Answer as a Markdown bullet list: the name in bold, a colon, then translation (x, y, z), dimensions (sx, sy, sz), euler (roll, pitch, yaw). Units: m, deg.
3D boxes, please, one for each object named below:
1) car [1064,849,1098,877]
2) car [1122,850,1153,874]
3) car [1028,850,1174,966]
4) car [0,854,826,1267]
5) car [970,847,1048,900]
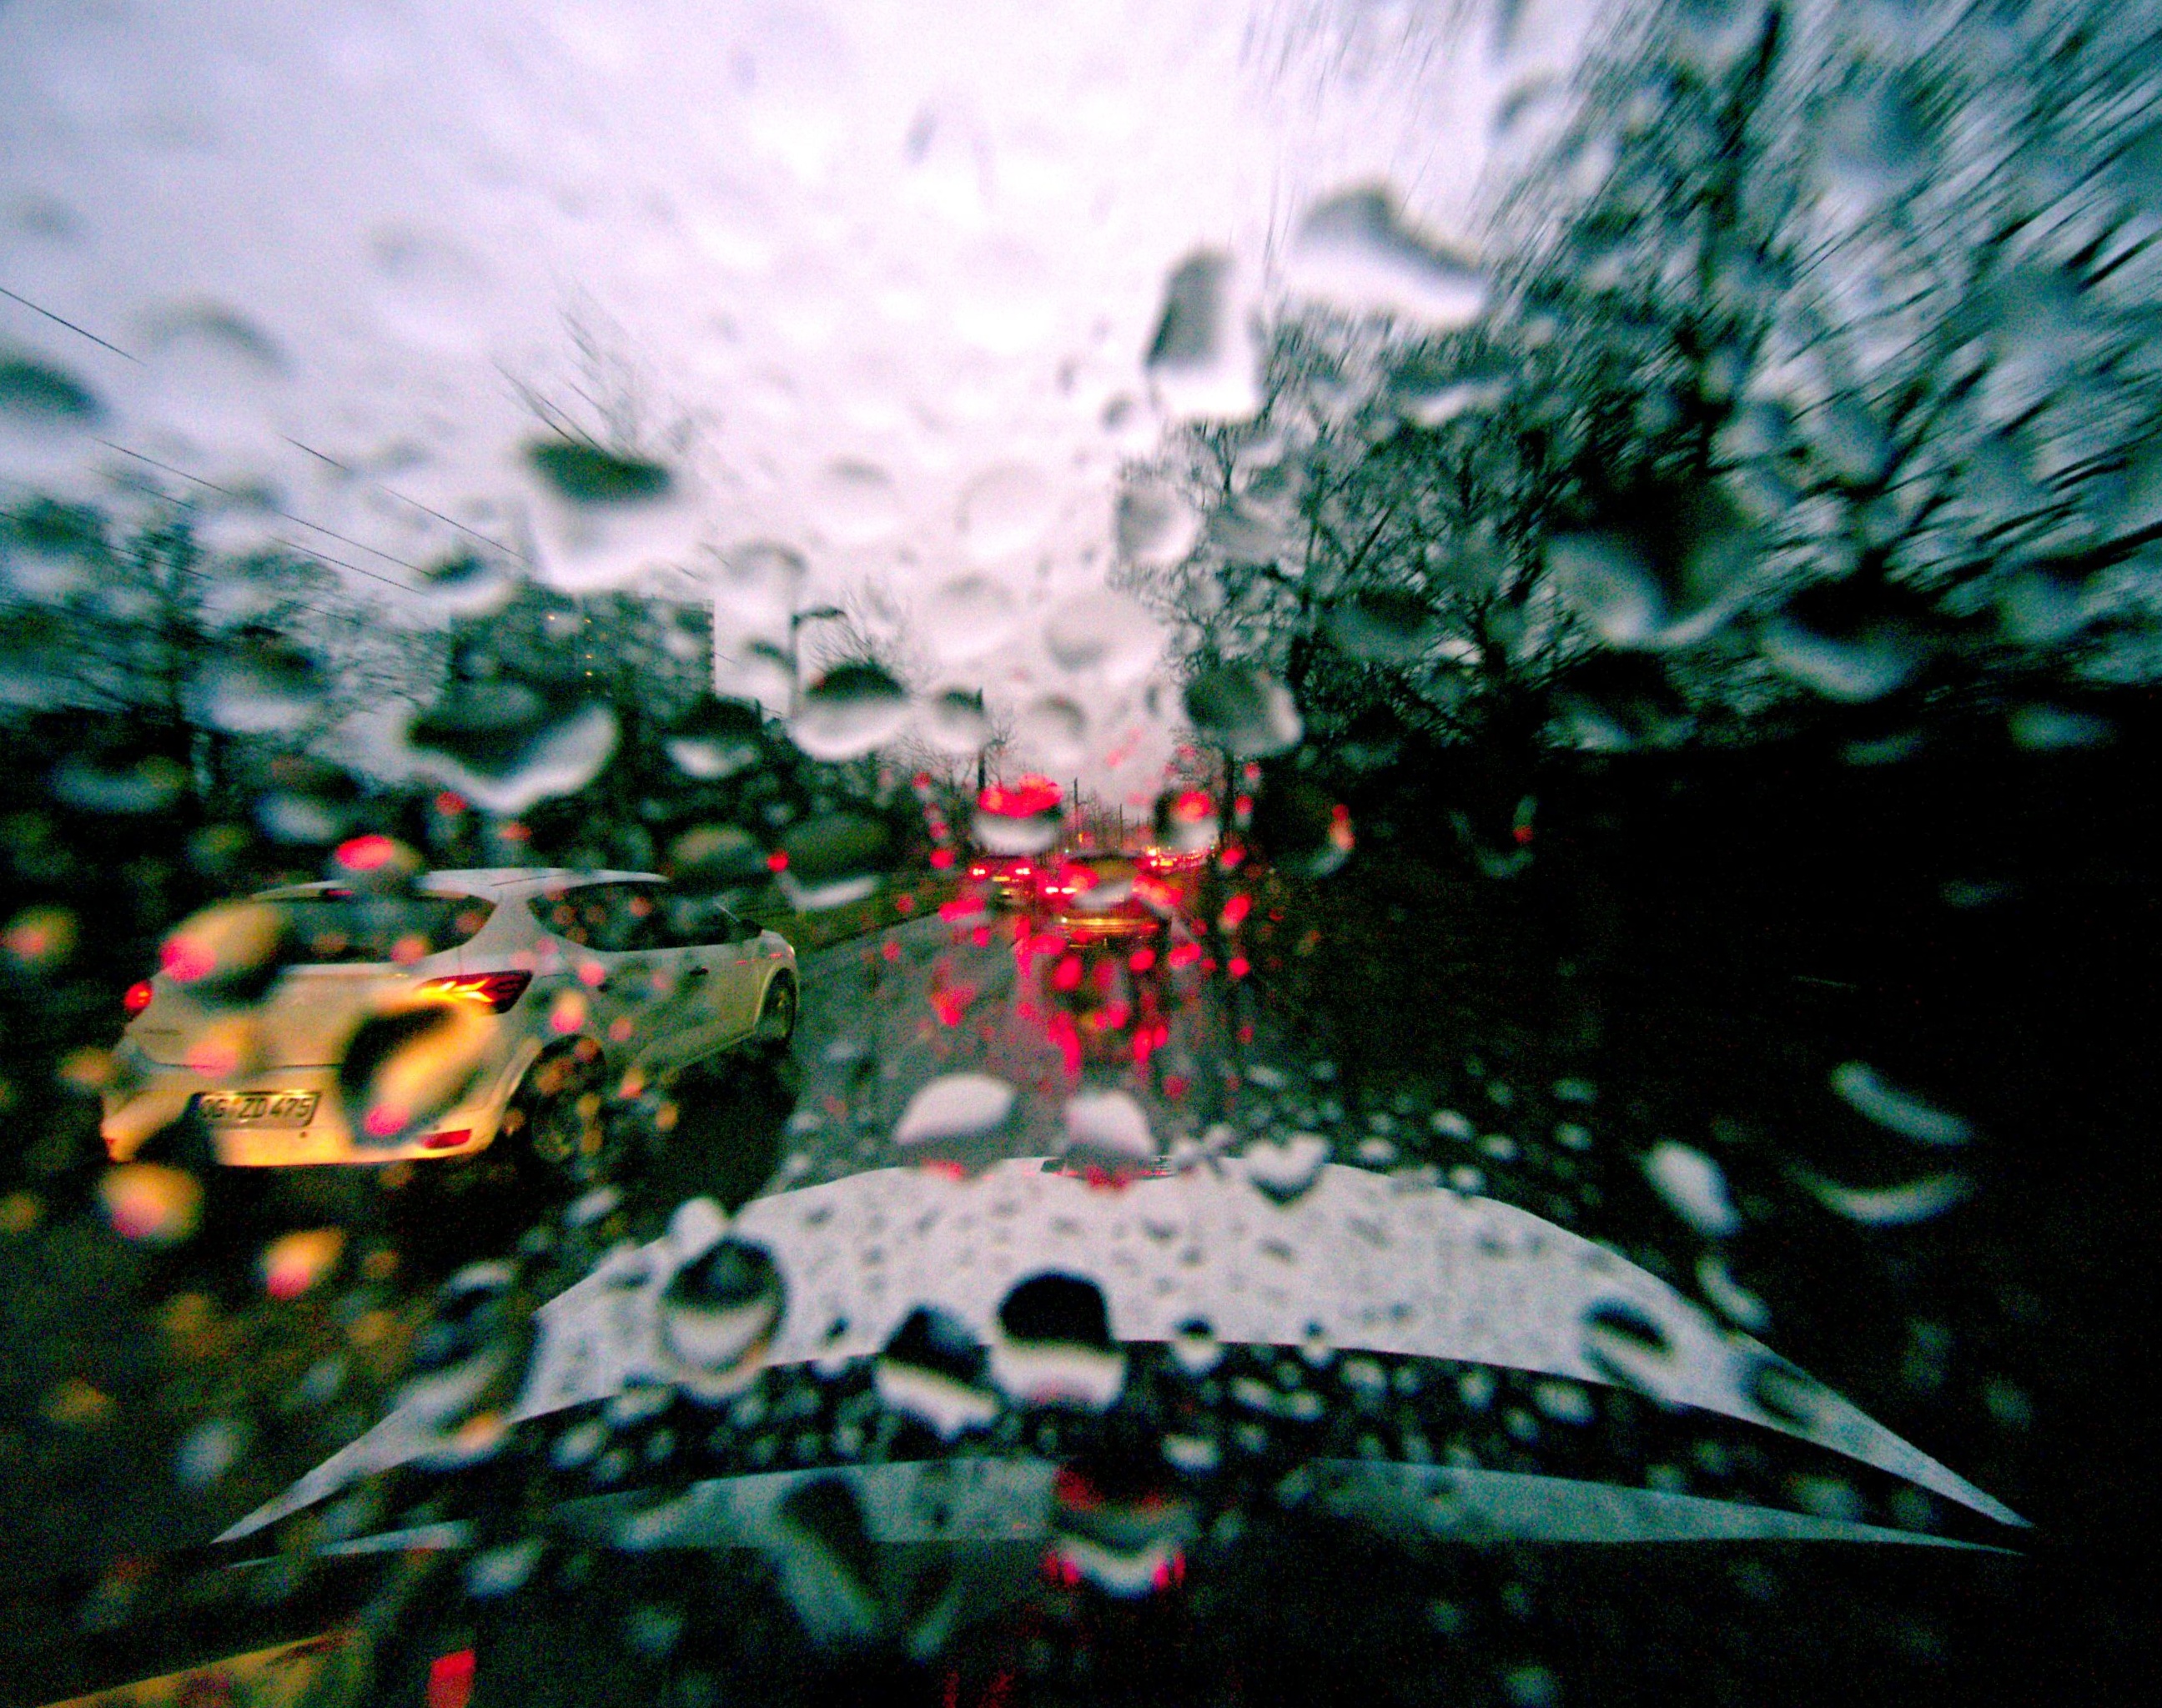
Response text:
- **car**: translation (0.038, 0.516, 49.408), dimensions (1.873, 1.593, 4.002), euler (-2, 0, 2)
- **car**: translation (3.939, 0.508, 56.120), dimensions (1.698, 1.558, 4.007), euler (-1, 0, 10)
- **car**: translation (0.327, 0.735, 13.259), dimensions (1.991, 1.584, 4.001), euler (-1, 0, 1)
- **car**: translation (-3.209, 0.783, 5.126), dimensions (1.702, 1.525, 4.138), euler (-1, 0, 3)
- **car**: translation (-2.142, 0.544, 25.384), dimensions (1.872, 1.459, 4.003), euler (-2, 0, 2)
